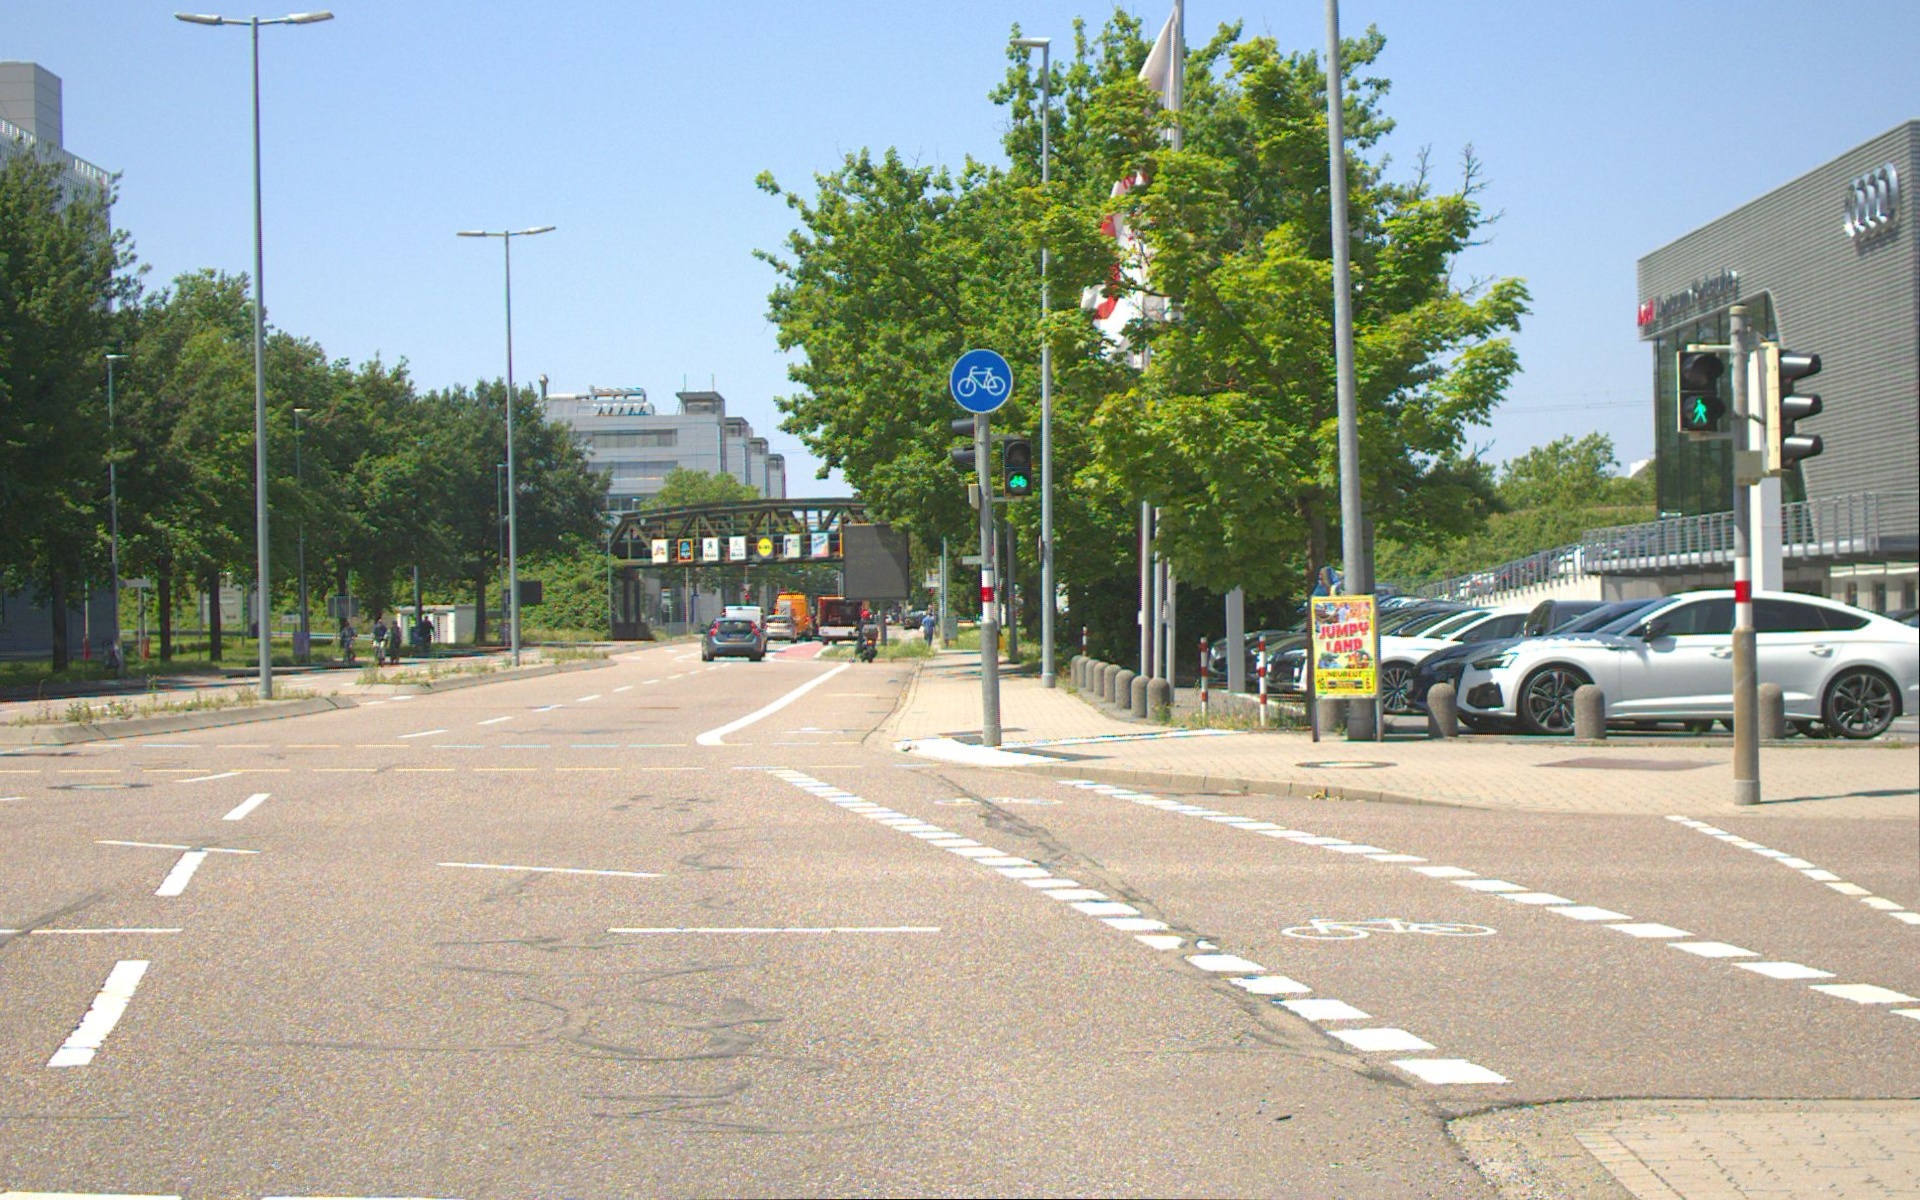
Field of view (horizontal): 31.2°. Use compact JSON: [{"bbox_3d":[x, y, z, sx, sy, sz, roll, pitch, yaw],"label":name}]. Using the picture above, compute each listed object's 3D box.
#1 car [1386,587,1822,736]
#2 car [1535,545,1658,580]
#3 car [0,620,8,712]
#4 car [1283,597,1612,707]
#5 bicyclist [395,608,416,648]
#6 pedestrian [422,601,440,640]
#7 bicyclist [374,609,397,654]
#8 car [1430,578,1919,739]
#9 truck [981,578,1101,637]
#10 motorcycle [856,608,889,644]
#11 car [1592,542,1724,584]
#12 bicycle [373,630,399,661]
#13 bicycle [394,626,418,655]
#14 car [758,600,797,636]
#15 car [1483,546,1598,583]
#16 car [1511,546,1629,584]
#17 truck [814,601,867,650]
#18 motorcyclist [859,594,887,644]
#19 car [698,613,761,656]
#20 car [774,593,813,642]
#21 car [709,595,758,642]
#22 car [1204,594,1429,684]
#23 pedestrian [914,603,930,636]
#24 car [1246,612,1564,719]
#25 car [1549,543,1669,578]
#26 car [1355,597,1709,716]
[{"bbox_3d":[6.573,0.622,35.390,4.096,1.386,1.869,1,0,0],"label":"car"},{"bbox_3d":[22.332,-1.323,120.754,3.938,1.207,1.717,0,0,-4],"label":"car"},{"bbox_3d":[-15.898,1.047,51.506,1.726,1.441,4.719,-3,-1,2],"label":"car"},{"bbox_3d":[6.490,0.691,46.070,4.099,1.344,1.869,1,0,0],"label":"car"},{"bbox_3d":[-22.701,1.151,140.677,0.633,1.623,1.044,-3,0,-1],"label":"bicyclist"},{"bbox_3d":[-25.423,0.994,165.141,0.743,1.878,0.577,-1,0,0],"label":"pedestrian"},{"bbox_3d":[-21.865,1.187,130.782,0.745,1.680,0.952,-1,0,-4],"label":"bicyclist"},{"bbox_3d":[6.904,0.551,32.812,4.592,1.386,1.869,1,0,2],"label":"car"},{"bbox_3d":[4.023,0.361,170.950,5.595,2.841,2.624,1,0,-6],"label":"truck"},{"bbox_3d":[-2.680,0.794,105.398,0.716,1.101,1.831,1,-1,-10],"label":"motorcycle"},{"bbox_3d":[23.429,-1.228,115.473,3.986,1.307,1.798,1,0,-4],"label":"car"},{"bbox_3d":[-21.855,1.730,130.851,0.739,1.121,2.435,-1,0,-4],"label":"bicycle"},{"bbox_3d":[-22.679,1.643,140.706,0.629,1.155,2.117,-3,0,-1],"label":"bicycle"},{"bbox_3d":[-9.655,0.936,182.273,1.895,1.809,4.000,-1,0,-1],"label":"car"},{"bbox_3d":[22.195,-1.366,131.554,3.986,1.307,1.798,-1,0,-4],"label":"car"},{"bbox_3d":[22.841,-1.299,128.841,3.986,1.307,1.798,1,0,-4],"label":"car"},{"bbox_3d":[-5.989,1.272,173.374,2.458,2.402,7.134,1,0,-1],"label":"truck"},{"bbox_3d":[-2.668,0.590,105.412,0.719,1.524,0.871,1,-1,-10],"label":"motorcyclist"},{"bbox_3d":[-7.689,1.131,114.916,1.900,1.371,4.232,-1,0,-1],"label":"car"},{"bbox_3d":[-9.769,1.021,202.520,2.072,2.845,6.765,-1,0,-1],"label":"car"},{"bbox_3d":[-9.868,0.799,149.973,1.993,2.007,4.000,0,0,-1],"label":"car"},{"bbox_3d":[6.156,0.665,59.701,3.681,1.448,1.834,1,0,0],"label":"car"},{"bbox_3d":[-1.594,0.832,143.854,0.623,1.370,0.564,-1,0,-2],"label":"pedestrian"},{"bbox_3d":[6.274,0.921,48.811,4.226,1.386,1.869,1,0,0],"label":"car"},{"bbox_3d":[22.209,-1.351,117.661,3.724,1.127,1.684,1,0,-4],"label":"car"},{"bbox_3d":[7.124,0.699,43.126,4.096,1.360,1.874,1,0,0],"label":"car"}]
